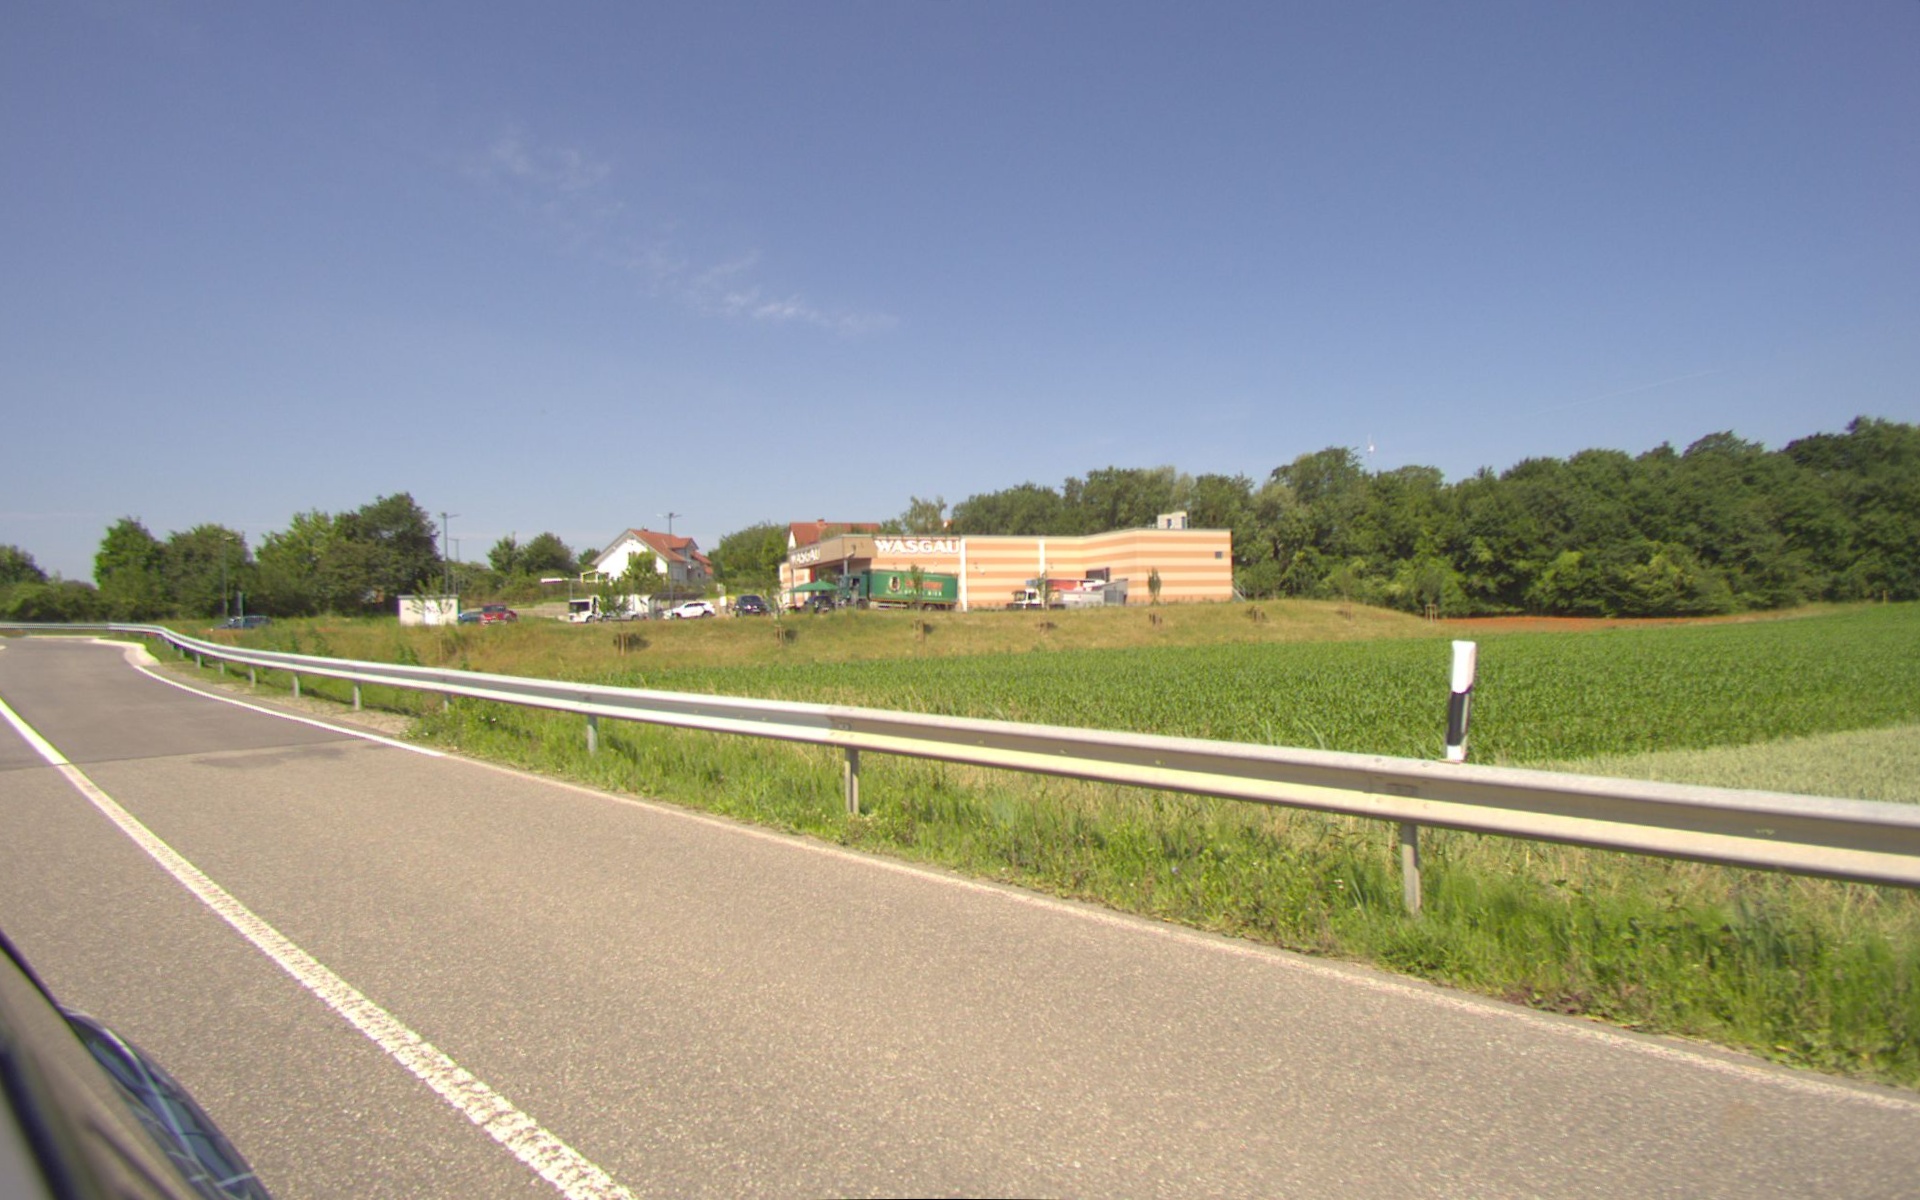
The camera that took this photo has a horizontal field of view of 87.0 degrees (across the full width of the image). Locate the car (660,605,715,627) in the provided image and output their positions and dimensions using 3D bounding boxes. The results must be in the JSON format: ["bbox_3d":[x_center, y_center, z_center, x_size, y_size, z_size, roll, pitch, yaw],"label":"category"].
[{"bbox_3d":[-23.417,1.338,87.023,4.258,1.716,2.007,-1,1,-25],"label":"car"}]

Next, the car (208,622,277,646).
[{"bbox_3d":[-56.776,2.677,80.174,4.124,1.716,2.007,-2,1,-26],"label":"car"}]

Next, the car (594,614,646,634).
[{"bbox_3d":[-31.148,2.148,92.760,4.258,1.609,2.007,-2,1,-26],"label":"car"}]

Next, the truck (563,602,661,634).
[{"bbox_3d":[-40.406,2.035,117.899,10.551,3.215,2.452,-2,1,-39],"label":"truck"}]

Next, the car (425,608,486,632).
[{"bbox_3d":[-40.861,1.590,82.062,4.258,1.716,2.007,-1,1,-22],"label":"car"}]

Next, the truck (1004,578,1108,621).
[{"bbox_3d":[8.523,-0.101,89.569,8.729,3.590,2.888,-1,1,-23],"label":"truck"}]

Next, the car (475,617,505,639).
[{"bbox_3d":[-29.919,1.756,64.353,1.596,1.299,3.685,-1,0,-27],"label":"car"}]

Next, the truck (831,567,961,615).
[{"bbox_3d":[-5.038,-0.739,79.969,9.771,3.503,2.888,-1,1,-20],"label":"truck"}]
